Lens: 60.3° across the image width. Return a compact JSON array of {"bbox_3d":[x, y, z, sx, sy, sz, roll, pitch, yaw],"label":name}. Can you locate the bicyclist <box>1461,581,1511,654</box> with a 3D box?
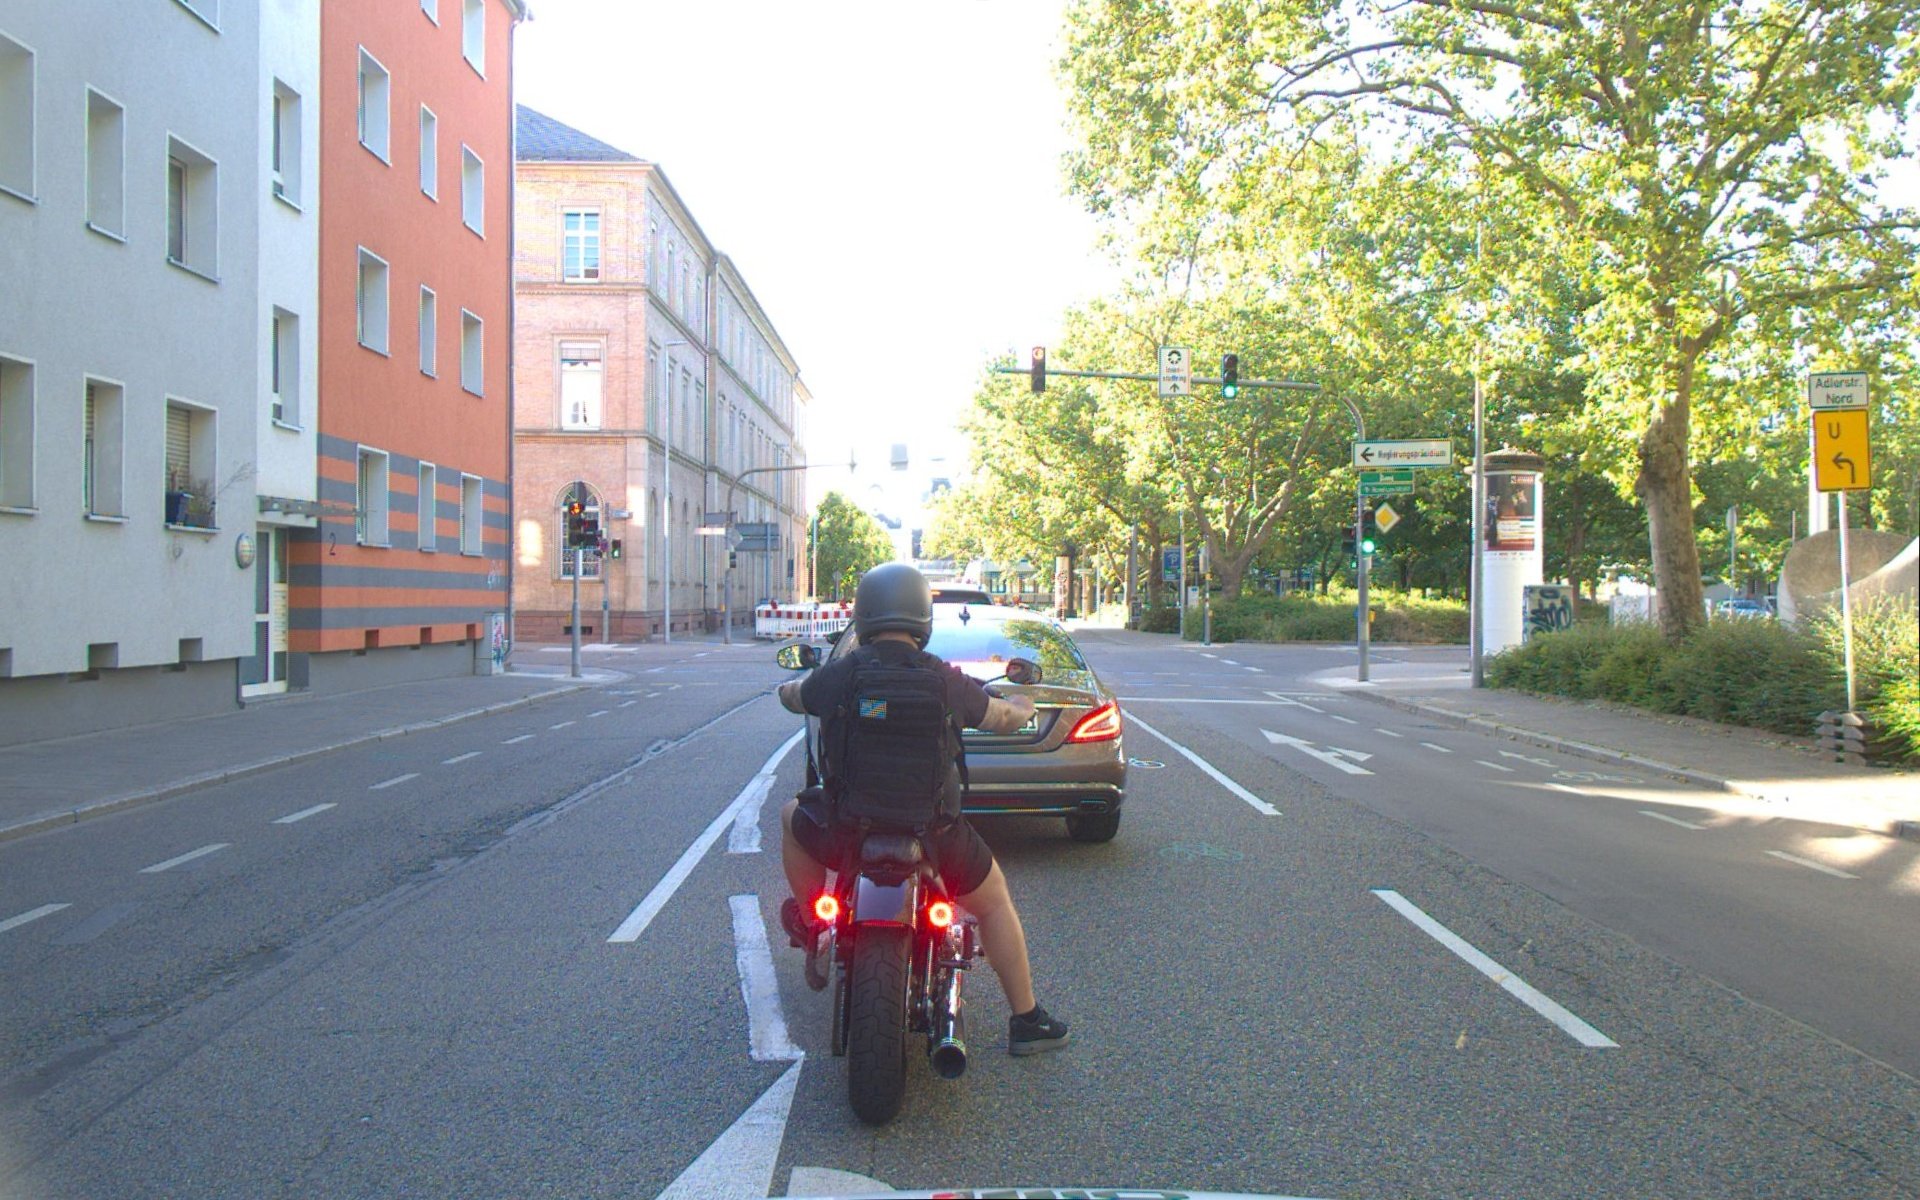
[{"bbox_3d":[11.730,0.387,36.915,0.703,1.610,0.934,1,0,-9],"label":"bicyclist"}]

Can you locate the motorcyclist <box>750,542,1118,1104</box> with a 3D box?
[{"bbox_3d":[-0.080,0.649,5.247,1.039,1.610,0.908,1,0,-1],"label":"motorcyclist"}]

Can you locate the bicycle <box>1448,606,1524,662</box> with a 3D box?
[{"bbox_3d":[11.718,0.746,36.894,0.702,1.193,2.171,1,0,-9],"label":"bicycle"}]

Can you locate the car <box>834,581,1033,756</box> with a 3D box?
[{"bbox_3d":[-0.345,0.608,16.746,1.777,1.563,3.846,0,0,-3],"label":"car"}]

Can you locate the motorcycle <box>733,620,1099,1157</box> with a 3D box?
[{"bbox_3d":[-0.130,0.774,5.516,0.942,1.380,2.319,1,0,-1],"label":"motorcycle"}]

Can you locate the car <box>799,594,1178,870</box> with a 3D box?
[{"bbox_3d":[-0.032,0.699,11.091,1.867,1.466,4.280,0,0,-9],"label":"car"}]
